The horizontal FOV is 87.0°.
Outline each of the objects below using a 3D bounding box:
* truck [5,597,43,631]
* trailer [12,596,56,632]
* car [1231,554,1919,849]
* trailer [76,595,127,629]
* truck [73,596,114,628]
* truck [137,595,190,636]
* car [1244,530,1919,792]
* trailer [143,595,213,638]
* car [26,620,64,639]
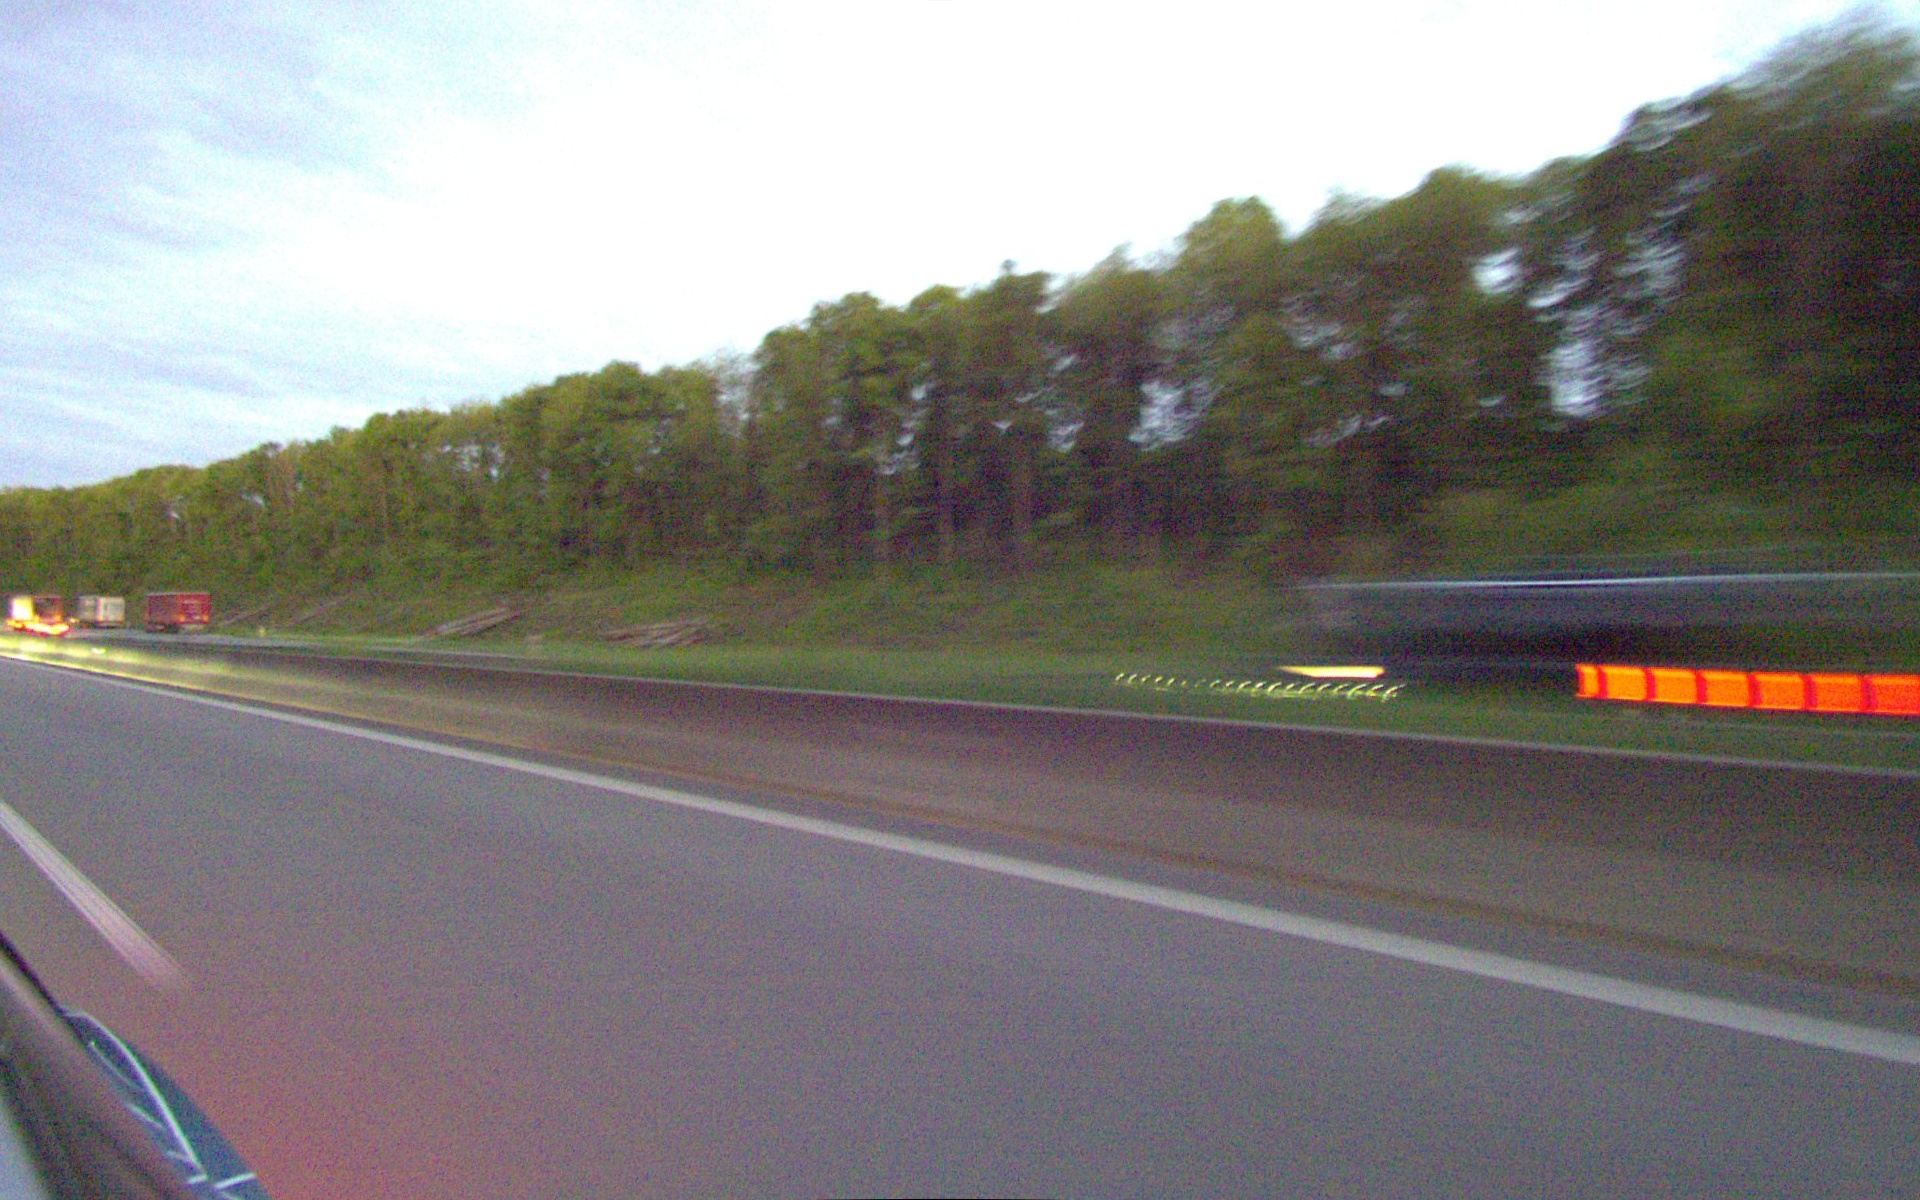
[{"bbox_3d":[-112.078,1.685,121.118,7.119,4.002,2.619,-1,-1,42],"label":"truck"},{"bbox_3d":[-105.604,1.613,115.379,10.182,3.960,2.619,-1,-1,42],"label":"trailer"},{"bbox_3d":[5.440,0.757,9.394,5.358,2.029,1.972,-1,-2,42],"label":"car"},{"bbox_3d":[-110.189,1.504,129.784,13.736,4.136,3.157,0,0,42],"label":"trailer"},{"bbox_3d":[-114.492,1.528,133.713,7.688,4.136,3.157,0,0,42],"label":"truck"},{"bbox_3d":[-84.515,1.596,107.328,7.688,4.136,3.157,0,0,42],"label":"truck"},{"bbox_3d":[7.563,0.652,12.570,7.513,2.503,2.289,-1,-2,40],"label":"car"},{"bbox_3d":[-79.561,1.548,102.808,14.180,4.136,3.157,0,0,42],"label":"trailer"},{"bbox_3d":[-78.869,2.521,87.254,4.651,1.587,1.861,-1,-2,41],"label":"car"}]
